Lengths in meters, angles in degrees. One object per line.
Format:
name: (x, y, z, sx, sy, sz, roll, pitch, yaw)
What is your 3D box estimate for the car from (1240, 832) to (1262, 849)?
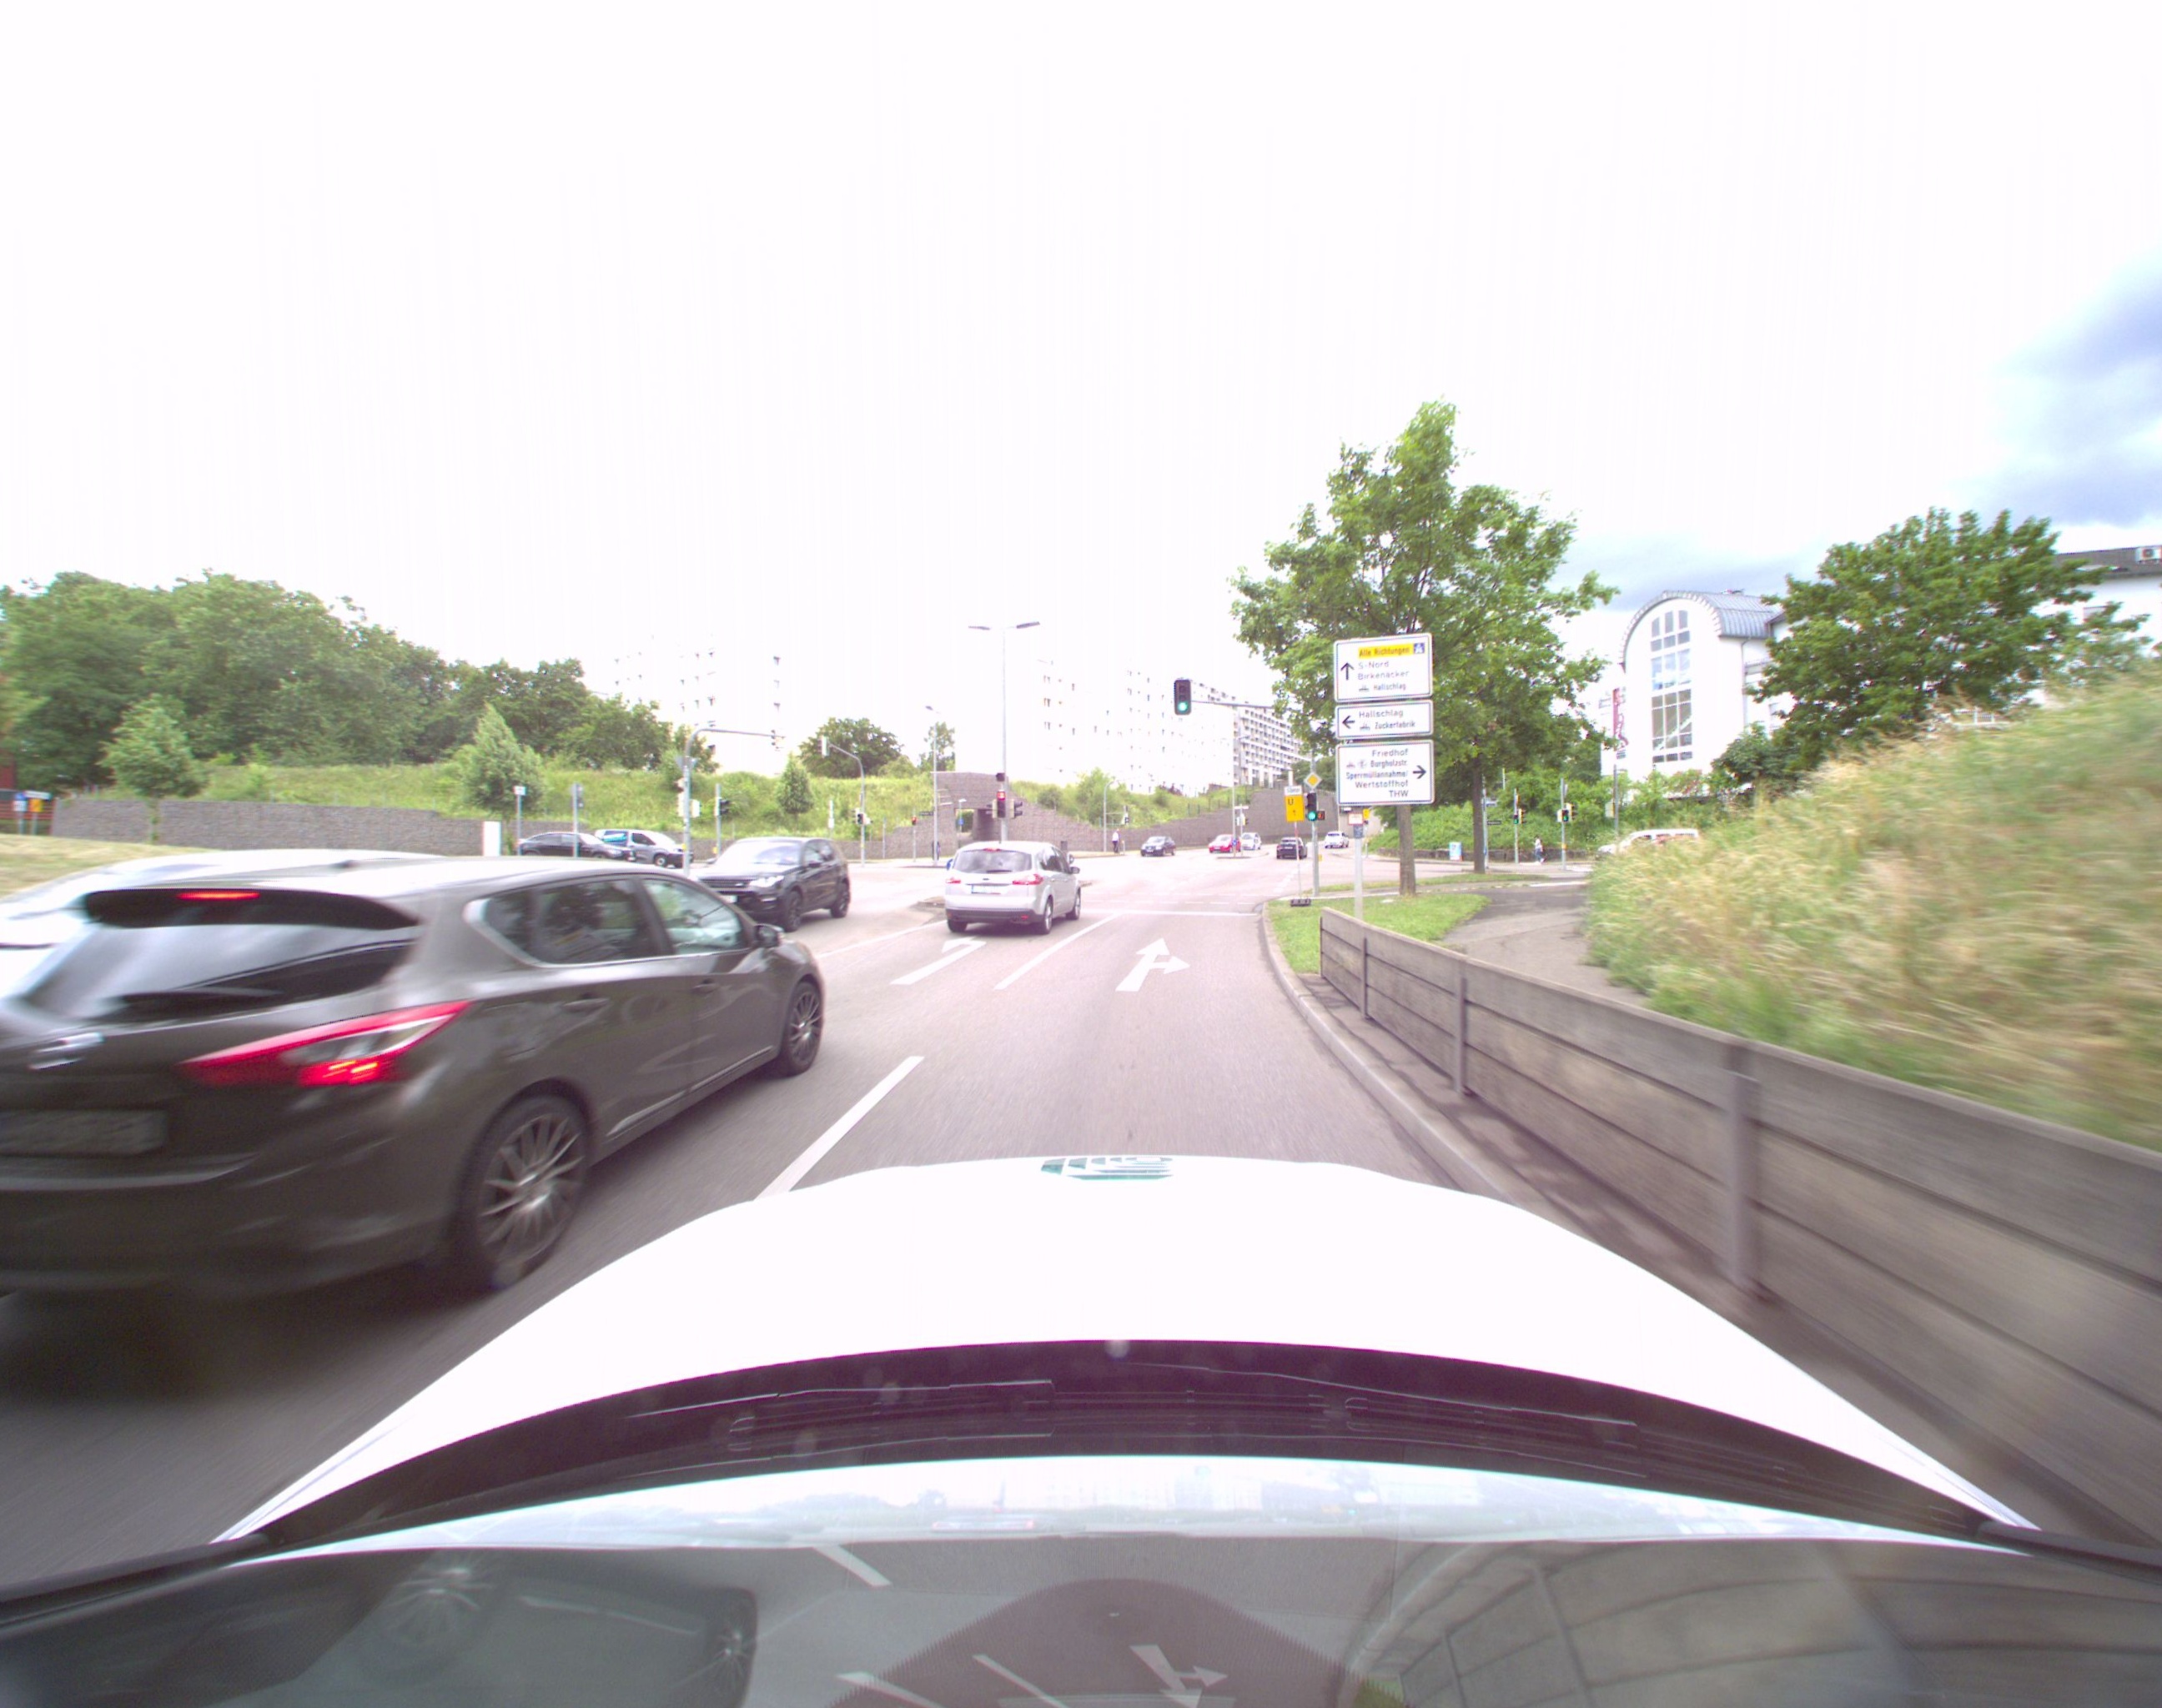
car: (15.171, -1.224, 72.554, 1.149, 1.366, 2.520, 3, 1, 29)

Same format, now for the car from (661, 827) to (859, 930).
car: (-5.890, 0.401, 15.591, 1.986, 1.698, 4.170, 0, 0, 2)

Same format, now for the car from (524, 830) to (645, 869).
car: (-21.007, -0.194, 34.580, 3.970, 1.596, 1.874, 1, 0, 3)

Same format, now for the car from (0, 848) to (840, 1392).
car: (-2.822, 0.740, 4.251, 1.838, 1.493, 4.001, 0, 0, 1)

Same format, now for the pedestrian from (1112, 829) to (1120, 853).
pedestrian: (2.708, -1.006, 62.423, 0.601, 1.862, 0.597, 0, 0, 2)

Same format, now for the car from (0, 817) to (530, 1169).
car: (-5.869, 0.626, 5.459, 1.759, 1.592, 3.996, 0, 0, -3)

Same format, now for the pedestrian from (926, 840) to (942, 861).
pedestrian: (-9.237, -0.217, 51.115, 0.910, 1.224, 0.727, 3, 1, -10)

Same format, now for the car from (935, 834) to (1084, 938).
car: (-1.207, 0.516, 15.543, 1.818, 1.706, 3.880, 1, 0, 11)

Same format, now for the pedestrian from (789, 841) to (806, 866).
pedestrian: (-18.218, -0.020, 52.387, 0.953, 1.613, 0.697, 0, 0, -11)

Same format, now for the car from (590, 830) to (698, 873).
car: (-20.622, -0.143, 38.544, 3.979, 1.947, 1.998, 0, 0, -4)

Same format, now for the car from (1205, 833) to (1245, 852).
car: (11.795, -0.977, 66.696, 1.824, 1.454, 4.025, 3, 3, 31)

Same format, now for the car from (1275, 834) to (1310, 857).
car: (14.468, -0.583, 55.624, 1.884, 1.466, 4.020, 1, 1, 20)

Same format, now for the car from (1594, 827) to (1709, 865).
car: (29.597, -0.426, 42.405, 4.472, 1.910, 2.007, 1, 0, 12)

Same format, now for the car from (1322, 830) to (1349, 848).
car: (23.445, -1.388, 74.847, 1.976, 1.618, 4.022, 0, 0, 23)

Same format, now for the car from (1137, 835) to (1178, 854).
car: (5.639, -0.684, 59.865, 1.839, 1.360, 4.022, 0, 1, 23)

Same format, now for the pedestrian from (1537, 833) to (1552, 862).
pedestrian: (26.680, -0.380, 46.886, 0.621, 1.653, 0.496, 0, 0, 18)
